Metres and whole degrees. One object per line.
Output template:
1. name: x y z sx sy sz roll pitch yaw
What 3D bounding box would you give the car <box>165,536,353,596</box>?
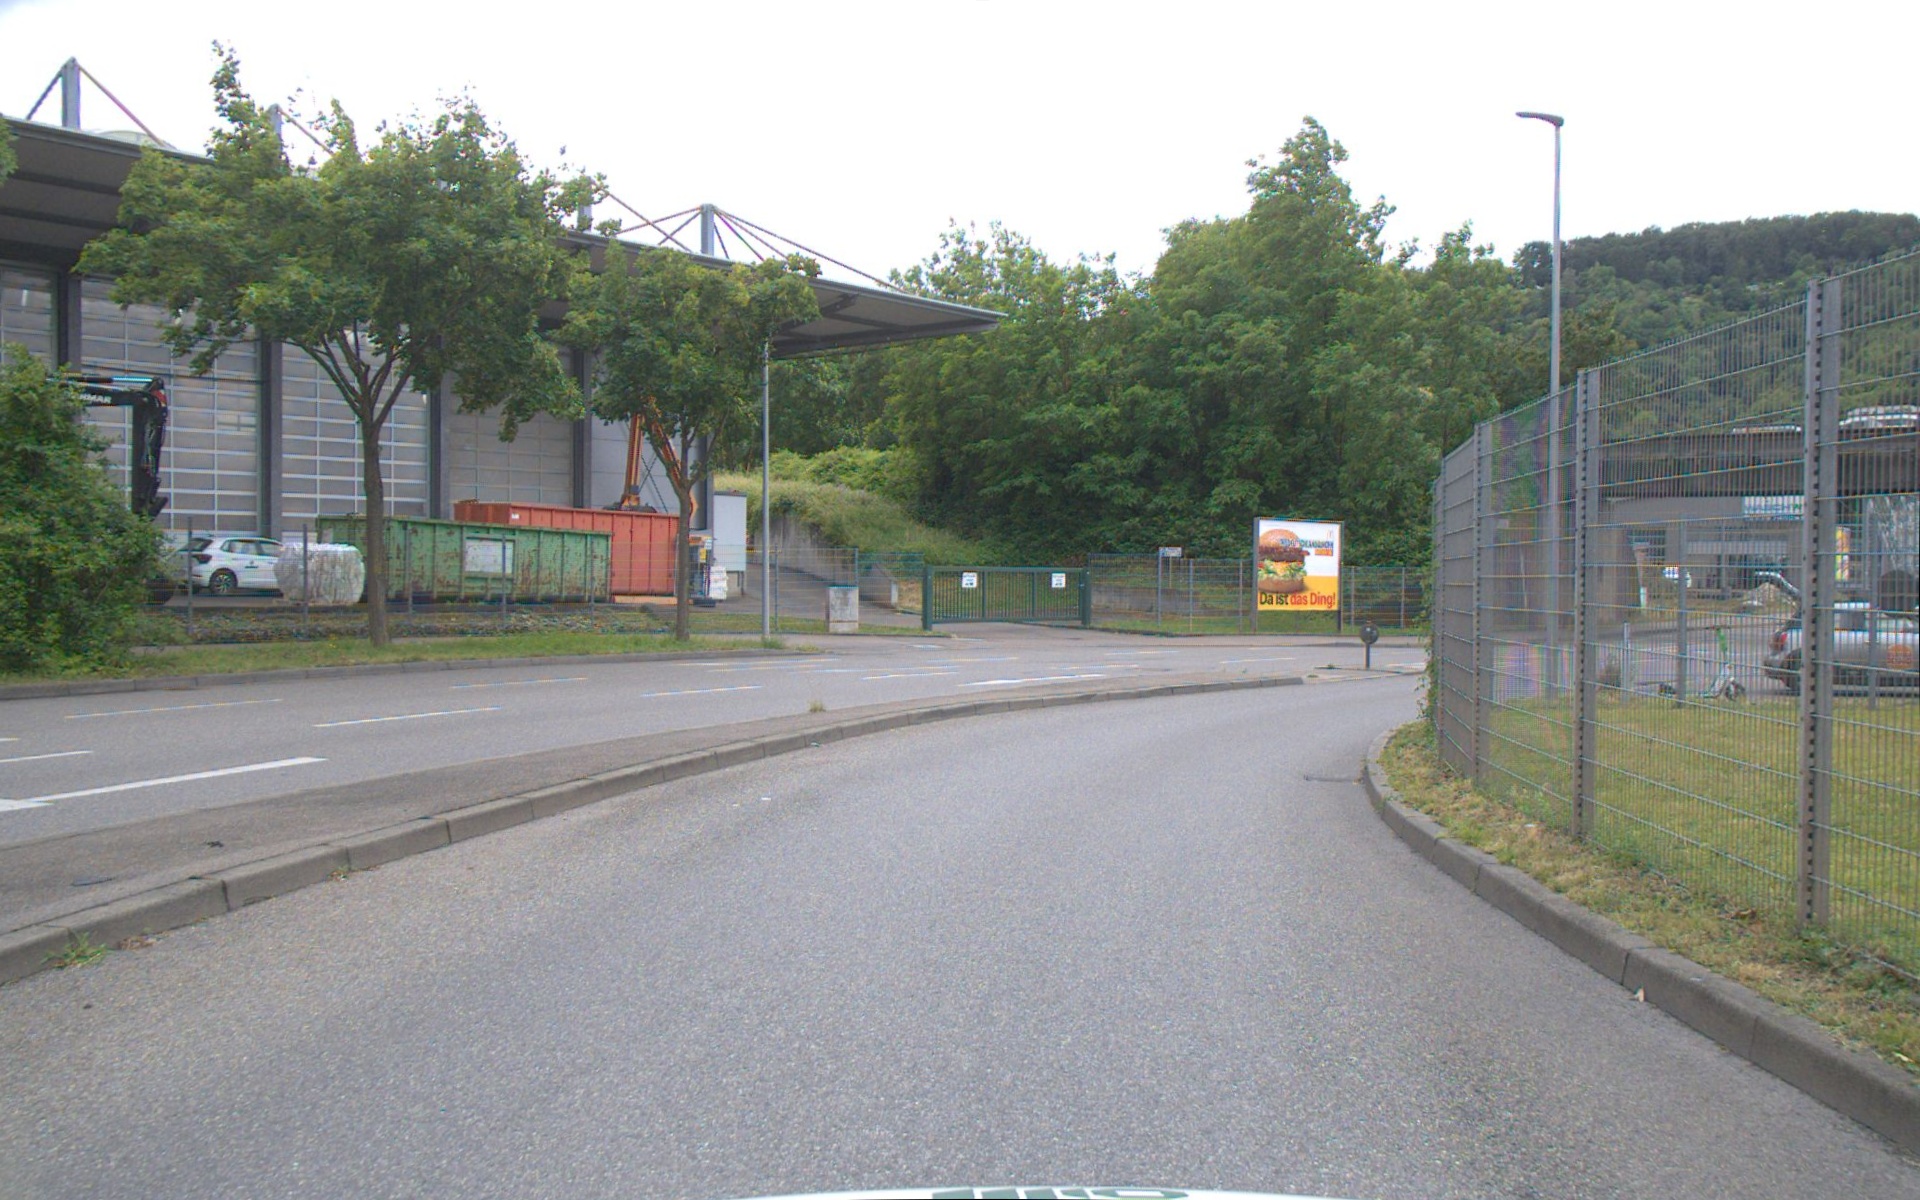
1. car: -17.398 -0.819 41.187 1.706 1.398 3.980 1 1 39

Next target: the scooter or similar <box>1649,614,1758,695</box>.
1. scooter or similar: 10.920 0.787 24.319 0.476 1.153 1.397 0 -1 -42

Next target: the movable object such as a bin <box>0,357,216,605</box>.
1. movable object such as a bin: -16.902 -2.025 29.137 2.676 4.162 6.536 0 1 32

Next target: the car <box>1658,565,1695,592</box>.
1. car: 42.711 -1.303 98.648 1.953 1.562 3.999 2 2 23

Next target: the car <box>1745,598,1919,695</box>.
1. car: 14.711 0.724 26.264 3.925 1.457 1.786 0 0 22
